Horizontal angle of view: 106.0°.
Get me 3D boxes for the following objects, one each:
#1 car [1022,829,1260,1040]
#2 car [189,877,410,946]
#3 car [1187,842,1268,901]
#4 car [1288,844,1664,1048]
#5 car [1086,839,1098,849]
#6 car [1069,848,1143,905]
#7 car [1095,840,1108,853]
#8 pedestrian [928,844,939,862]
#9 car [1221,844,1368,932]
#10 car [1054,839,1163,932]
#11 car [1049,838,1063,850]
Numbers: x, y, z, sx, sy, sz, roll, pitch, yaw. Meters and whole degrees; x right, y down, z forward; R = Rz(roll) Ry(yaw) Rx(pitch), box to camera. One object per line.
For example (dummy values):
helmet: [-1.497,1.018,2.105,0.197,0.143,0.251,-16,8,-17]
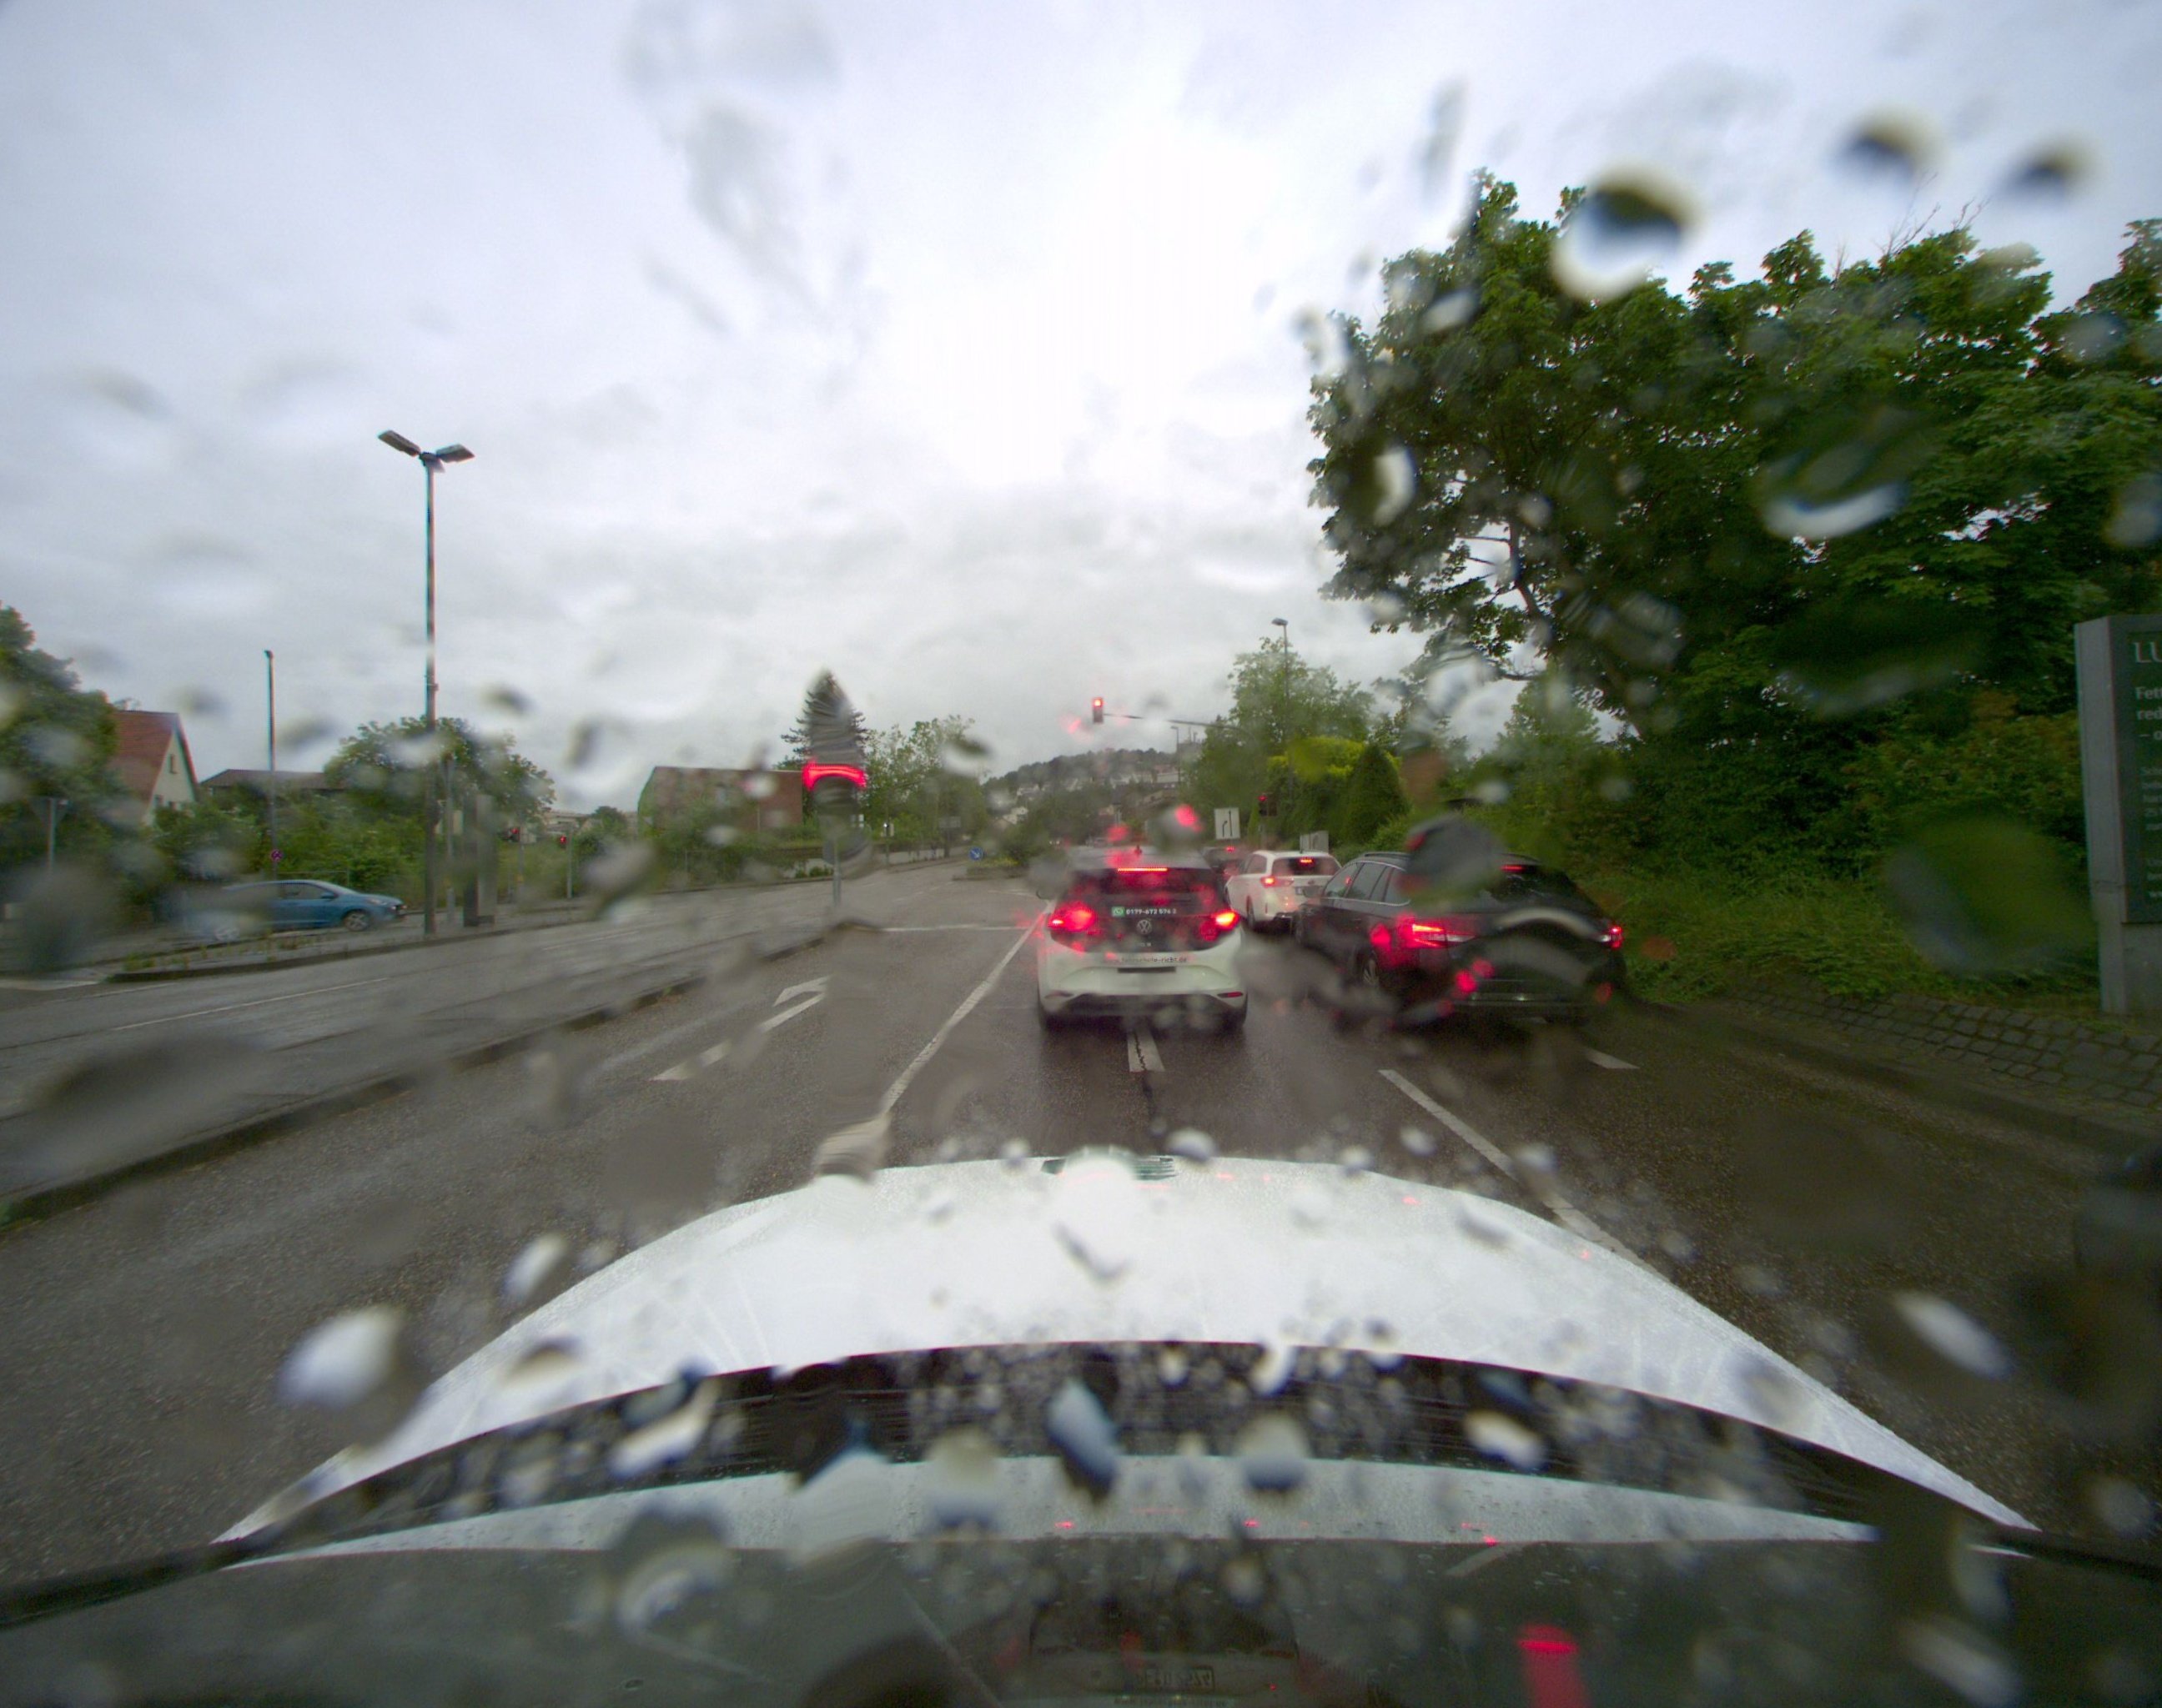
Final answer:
car: [0.514,0.594,8.586,1.831,1.629,4.617,0,1,1]
car: [-20.301,1.432,21.388,3.756,1.418,1.752,-3,1,-26]
car: [4.189,0.459,23.850,1.769,1.581,4.002,0,0,2]
car: [3.395,0.639,8.057,1.830,1.466,4.353,0,1,3]
car: [1.936,-1.686,142.291,1.769,1.581,4.002,-3,0,2]
car: [0.663,0.536,21.969,1.831,1.400,3.832,0,1,1]
car: [2.855,-1.015,112.416,1.769,1.581,4.002,-3,0,2]
pedestrian: [-13.090,-0.073,72.251,0.757,1.568,0.825,-4,0,1]
car: [3.907,0.545,15.606,1.831,1.466,4.118,0,1,1]
car: [0.510,0.502,15.761,1.831,1.554,4.176,0,1,1]
car: [-4.306,-1.722,141.182,1.986,2.014,4.002,-1,-1,2]
